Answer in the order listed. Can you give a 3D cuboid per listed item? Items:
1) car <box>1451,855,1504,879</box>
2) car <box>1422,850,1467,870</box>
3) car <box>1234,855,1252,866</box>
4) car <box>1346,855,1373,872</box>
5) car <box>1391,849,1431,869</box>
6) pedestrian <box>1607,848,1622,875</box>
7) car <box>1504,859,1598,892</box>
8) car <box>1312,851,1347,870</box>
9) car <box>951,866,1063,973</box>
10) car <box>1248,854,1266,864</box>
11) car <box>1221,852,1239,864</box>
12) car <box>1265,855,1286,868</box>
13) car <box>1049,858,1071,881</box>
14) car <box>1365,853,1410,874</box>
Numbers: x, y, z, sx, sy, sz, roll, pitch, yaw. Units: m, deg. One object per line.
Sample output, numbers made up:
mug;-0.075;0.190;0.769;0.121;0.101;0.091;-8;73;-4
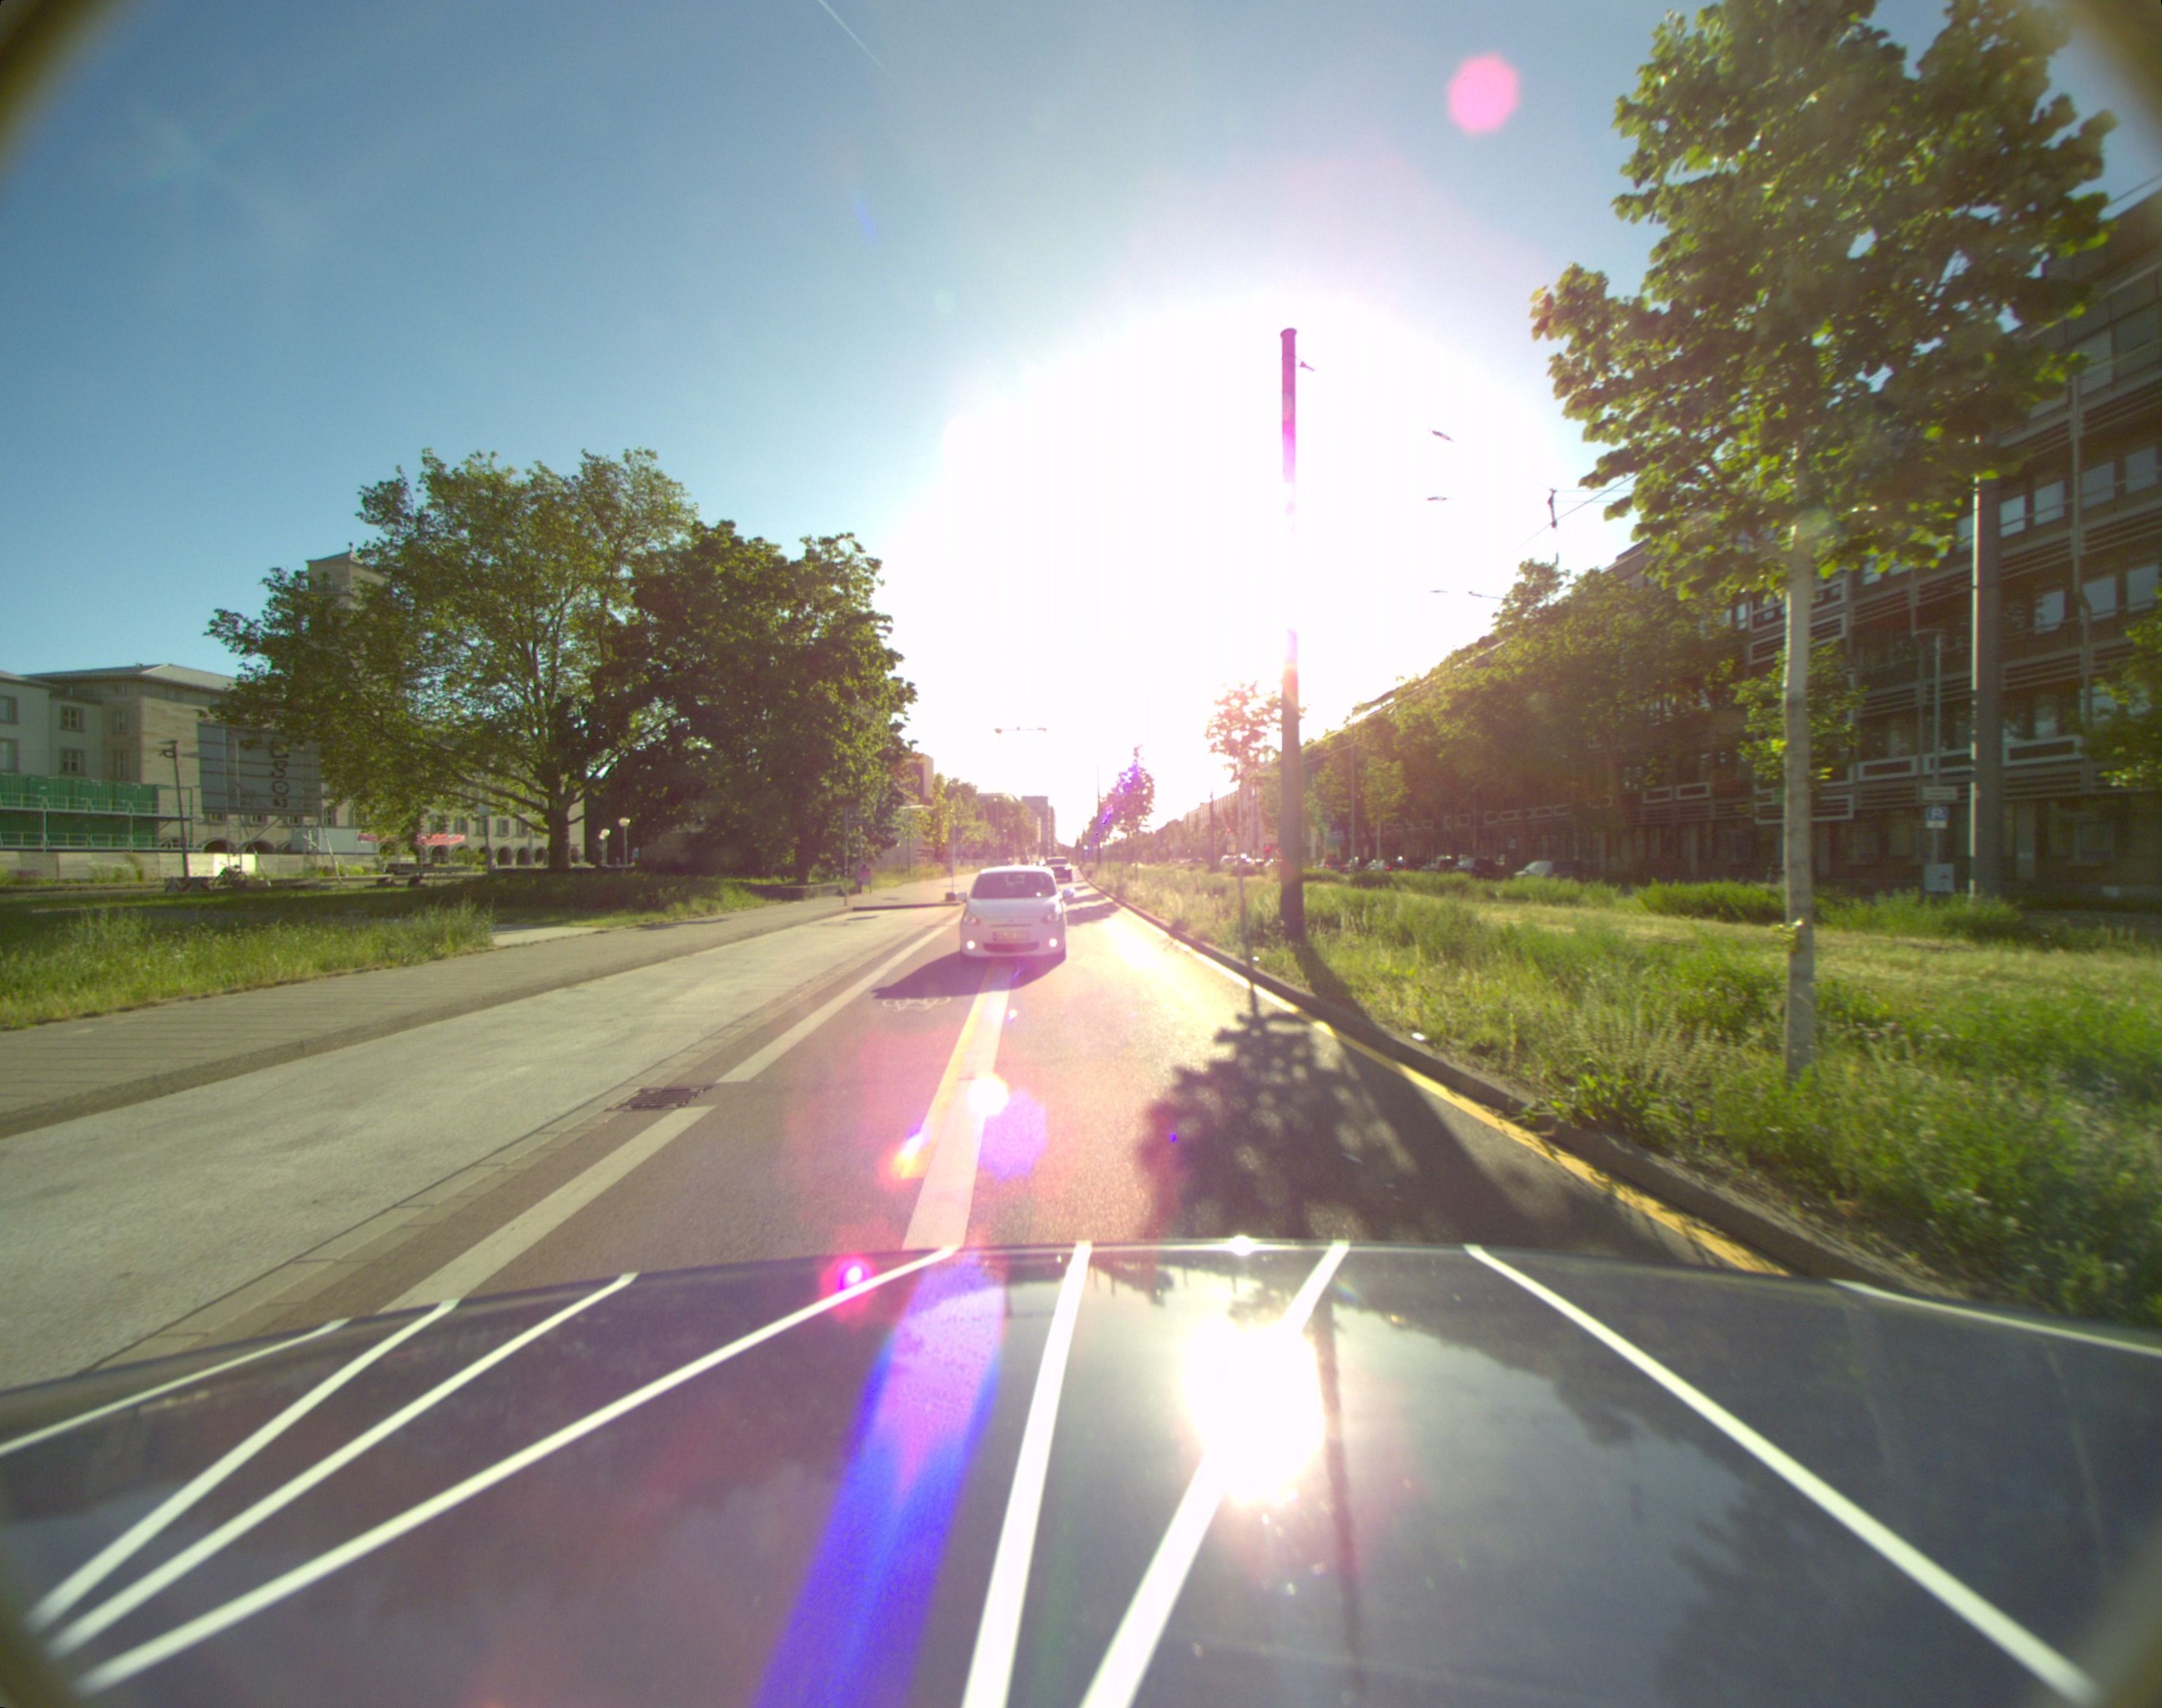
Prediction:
car;28.303;0.895;54.372;1.726;1.535;3.630;-2;0;-2
car;28.786;0.504;60.298;1.726;1.477;3.630;-2;0;-3
car;20.656;0.846;96.954;1.555;1.371;3.779;0;0;0
car;28.256;0.974;77.250;1.390;1.592;3.265;-2;0;-2
car;28.602;0.418;66.010;1.726;1.592;3.630;-2;0;-2
pedestrian;33.857;0.471;48.197;0.483;1.739;0.639;0;0;0
car;21.669;0.953;35.228;1.721;1.379;4.038;-3;0;-2
car;20.152;0.478;61.709;1.632;1.487;3.779;0;0;0
car;-1.226;1.018;13.257;1.615;1.489;3.393;-3;0;-3
car;23.832;0.630;103.022;1.555;1.371;3.779;0;0;0
car;20.938;0.522;107.019;1.865;1.671;3.779;0;0;0
car;23.586;0.874;92.116;1.632;1.487;3.779;0;0;0
car;-1.467;1.091;53.260;1.459;1.471;3.527;-4;-1;-1
car;22.984;0.696;57.165;1.632;1.487;4.416;0;0;0
